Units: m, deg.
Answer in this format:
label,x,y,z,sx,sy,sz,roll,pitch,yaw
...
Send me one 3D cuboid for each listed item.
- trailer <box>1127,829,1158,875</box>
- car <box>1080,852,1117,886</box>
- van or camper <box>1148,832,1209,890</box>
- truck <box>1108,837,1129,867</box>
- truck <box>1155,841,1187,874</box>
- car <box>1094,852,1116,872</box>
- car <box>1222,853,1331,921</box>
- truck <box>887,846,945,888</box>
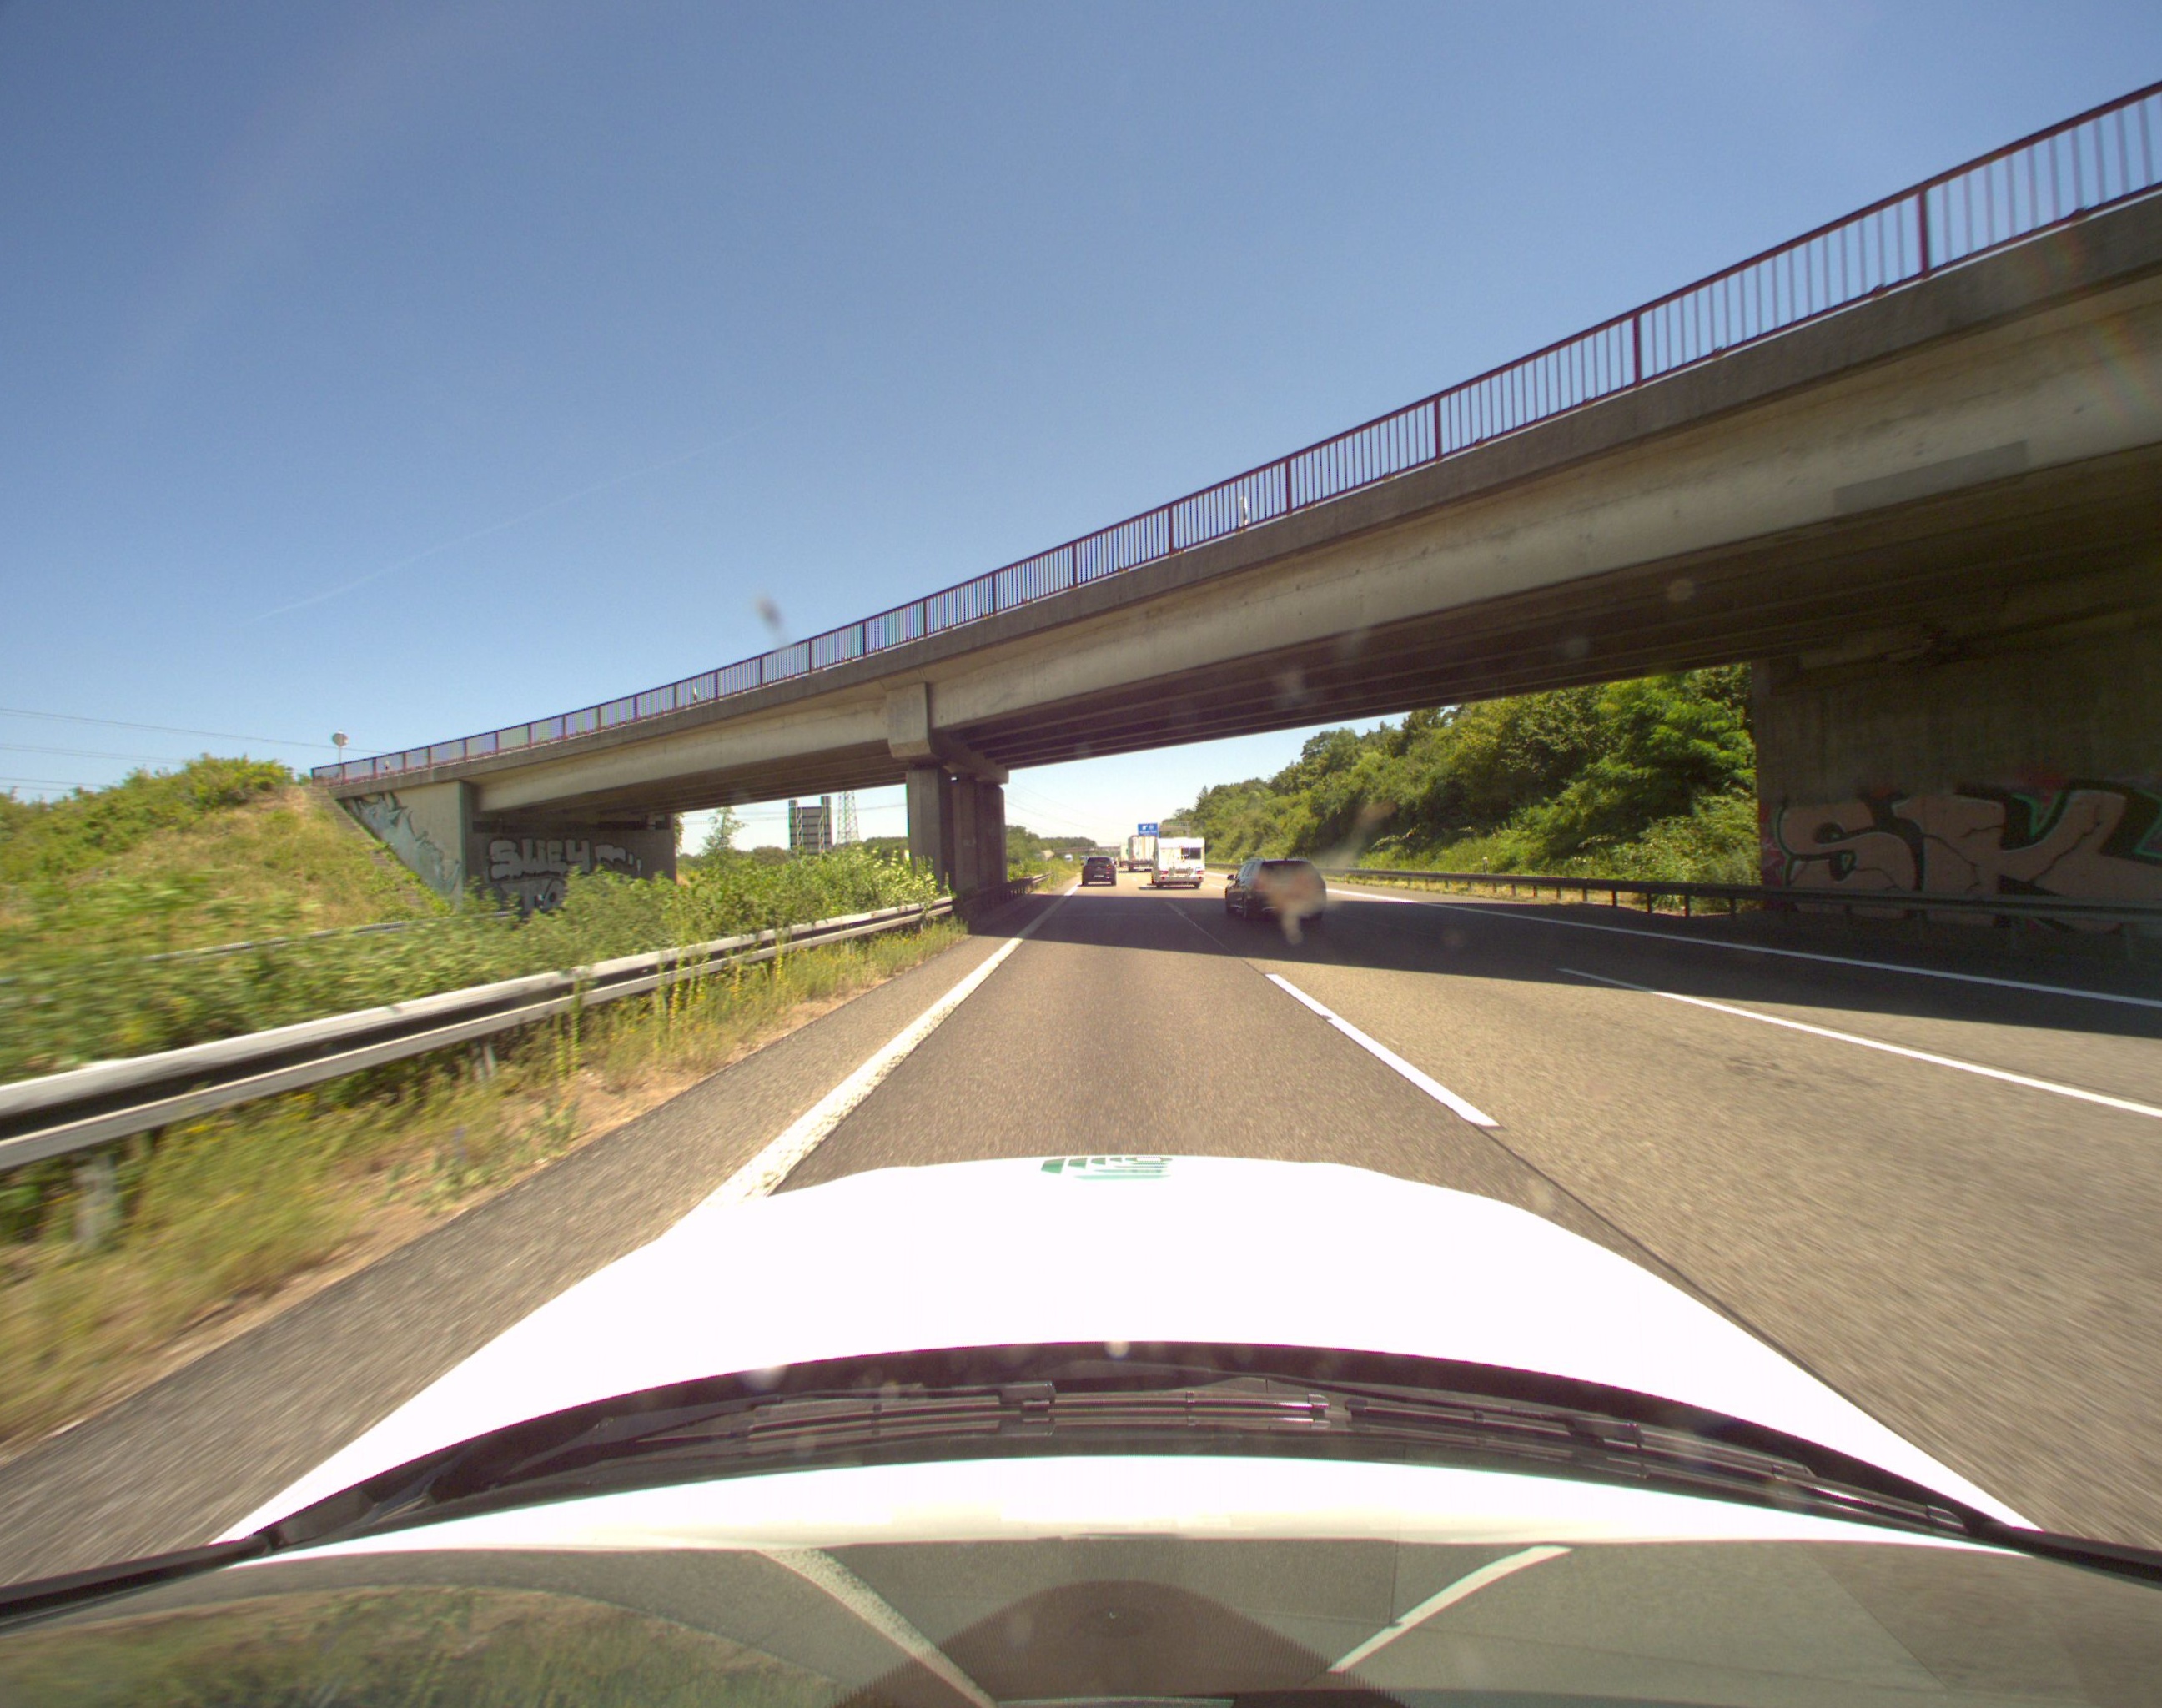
label,x,y,z,sx,sy,sz,roll,pitch,yaw
trailer,6.928,-0.191,92.944,3.075,4.885,12.264,0,-1,2
car,1.024,0.844,47.286,1.986,1.772,4.001,-2,0,1
van or camper,4.890,0.324,41.814,2.430,2.675,6.350,-2,0,1
truck,6.667,-0.323,144.186,3.498,5.166,10.263,-1,0,2
truck,12.412,0.542,113.290,3.557,4.245,11.657,0,-1,2
car,2.268,0.769,78.117,1.955,1.814,4.450,-2,0,1
car,4.798,0.746,20.624,1.833,1.505,4.742,-1,0,3
truck,-15.874,1.224,79.256,3.498,3.863,8.666,-1,0,2
